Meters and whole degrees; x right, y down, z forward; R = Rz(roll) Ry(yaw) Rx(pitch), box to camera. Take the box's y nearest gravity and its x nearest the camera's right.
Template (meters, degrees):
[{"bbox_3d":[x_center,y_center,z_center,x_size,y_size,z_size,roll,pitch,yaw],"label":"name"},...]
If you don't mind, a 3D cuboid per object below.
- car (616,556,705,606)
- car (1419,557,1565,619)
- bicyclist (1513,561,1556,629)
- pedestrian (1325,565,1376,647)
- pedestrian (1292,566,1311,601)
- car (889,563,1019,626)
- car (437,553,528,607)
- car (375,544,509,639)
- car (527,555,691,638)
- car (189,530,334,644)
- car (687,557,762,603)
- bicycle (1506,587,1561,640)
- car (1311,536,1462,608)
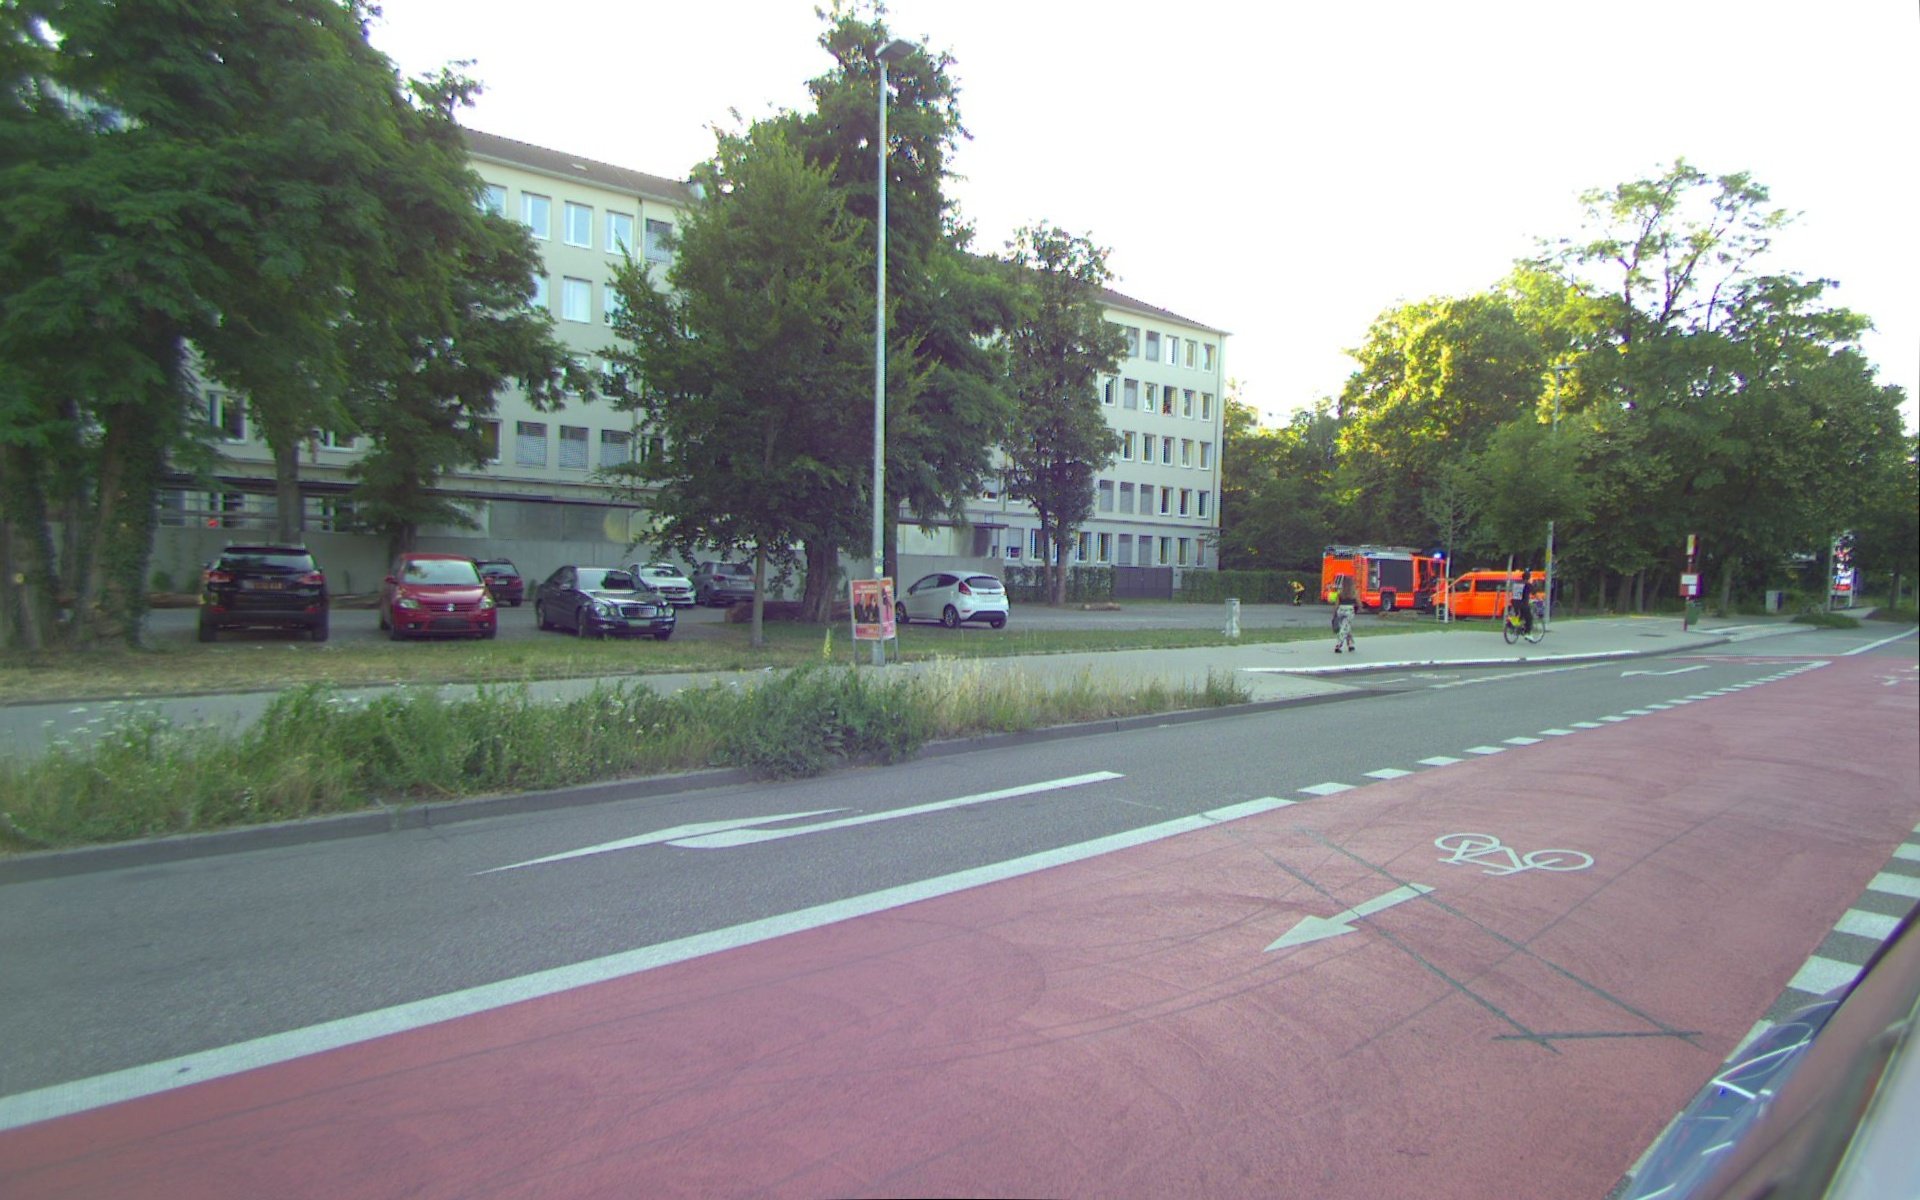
[{"bbox_3d":[-10.018,-0.660,33.689,1.880,1.540,3.921,0,2,-32],"label":"car"},{"bbox_3d":[22.780,-0.570,43.557,1.963,2.422,5.168,0,2,-37],"label":"car"},{"bbox_3d":[14.250,-0.125,25.106,1.019,1.652,0.571,0,2,-41],"label":"bicyclist"},{"bbox_3d":[8.015,0.114,20.792,0.676,1.642,0.682,1,2,-41],"label":"pedestrian"},{"bbox_3d":[18.713,-0.909,55.465,0.837,1.864,0.677,2,1,24],"label":"pedestrian"},{"bbox_3d":[-0.222,-0.192,26.859,1.633,1.477,3.667,0,2,-35],"label":"car"},{"bbox_3d":[-14.526,-0.639,30.703,1.738,1.477,3.626,0,3,-38],"label":"car"},{"bbox_3d":[-10.110,-0.232,19.601,1.882,1.630,4.003,0,2,-33],"label":"car"},{"bbox_3d":[-7.385,-0.143,20.993,1.883,1.482,4.519,0,3,-37],"label":"car"},{"bbox_3d":[-12.291,-0.293,17.867,1.882,1.761,4.241,0,2,-35],"label":"car"},{"bbox_3d":[-8.203,-0.702,35.087,1.734,1.477,3.320,1,2,-27],"label":"car"},{"bbox_3d":[14.245,0.310,25.117,1.866,1.256,0.571,0,2,-41],"label":"bicycle"},{"bbox_3d":[20.966,-1.350,49.520,8.138,3.283,2.775,0,2,-34],"label":"car"}]
